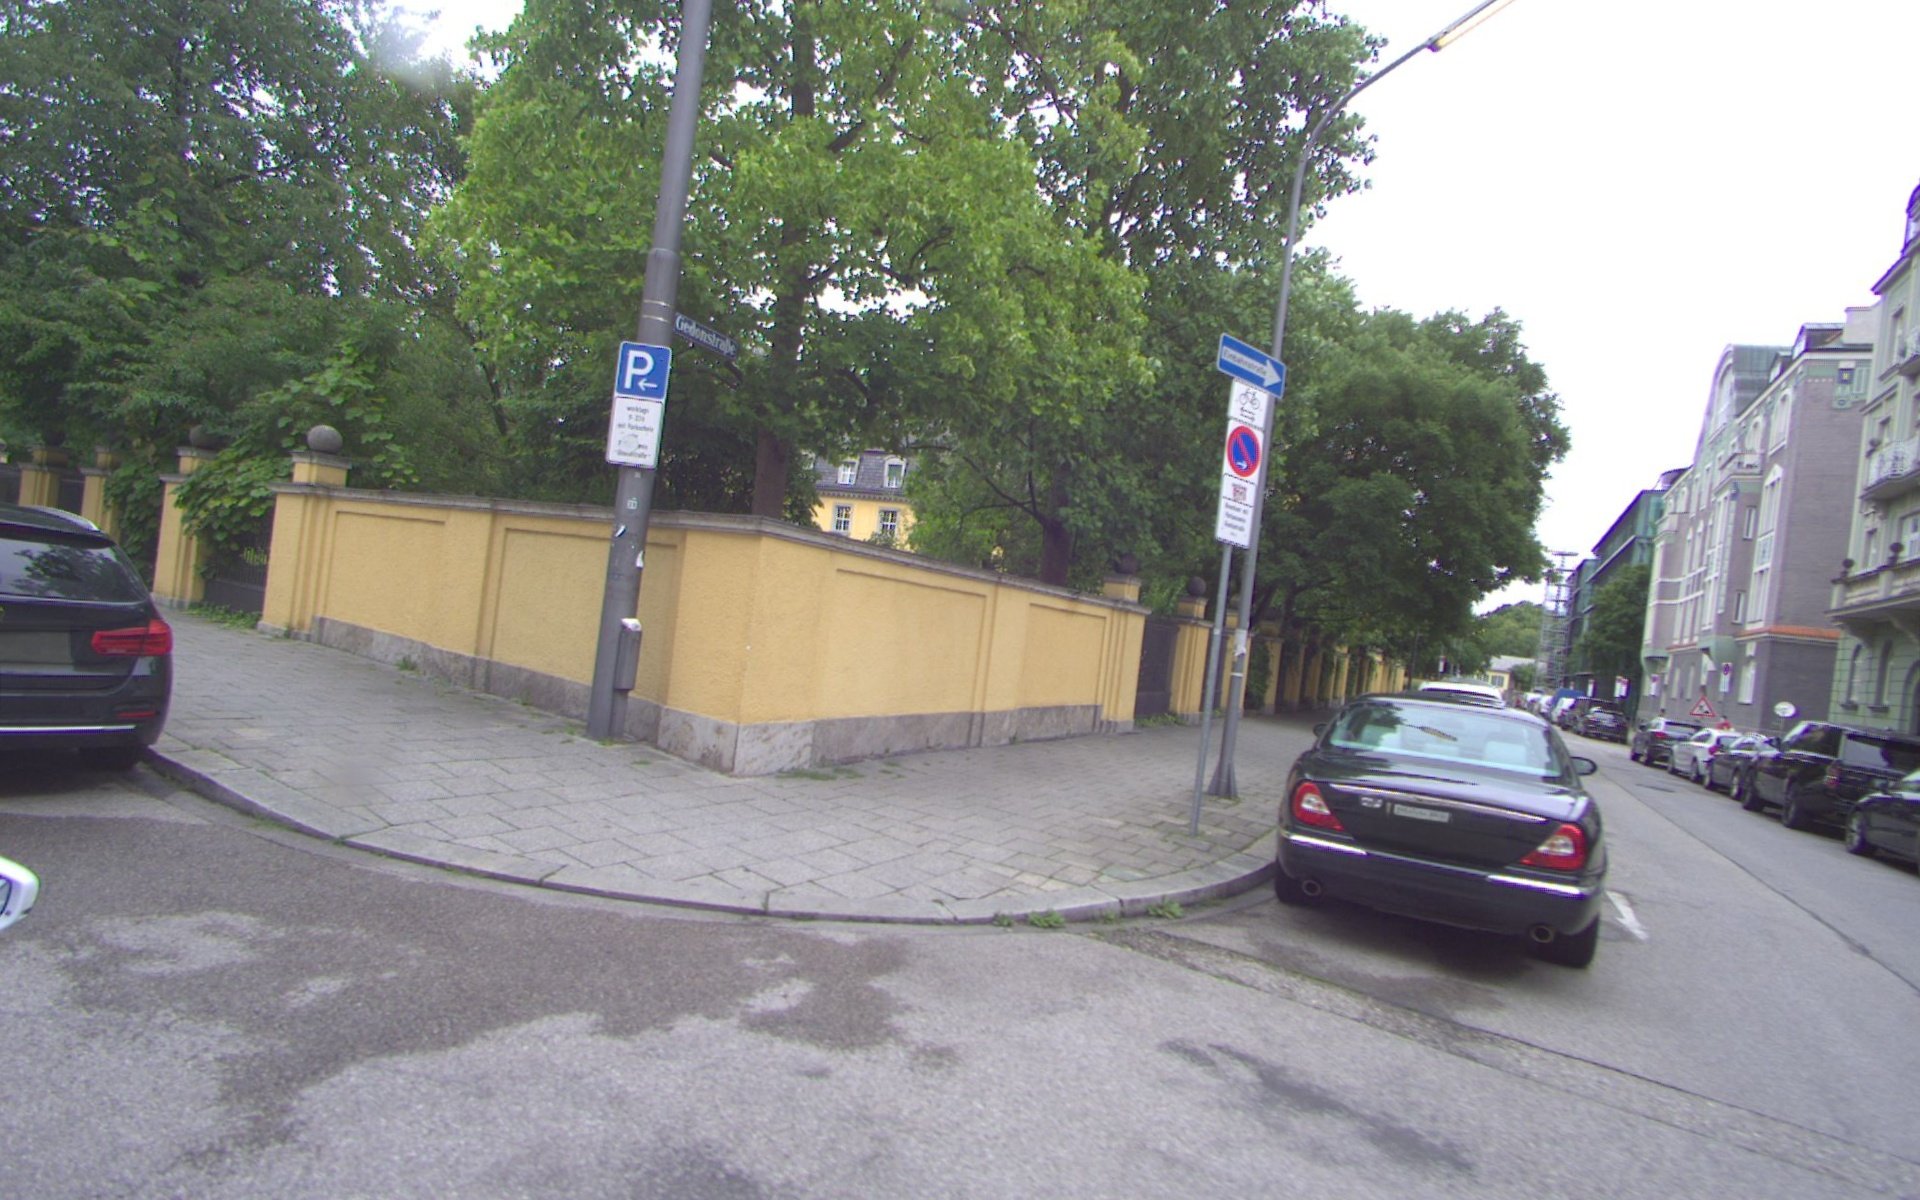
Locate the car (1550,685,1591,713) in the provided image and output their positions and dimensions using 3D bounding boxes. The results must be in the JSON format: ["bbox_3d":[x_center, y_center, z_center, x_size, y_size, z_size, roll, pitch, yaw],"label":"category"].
[{"bbox_3d":[43.123,6.952,71.174,1.965,1.640,4.604,6,-1,27],"label":"car"}]

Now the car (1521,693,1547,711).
[{"bbox_3d":[61.427,10.898,107.683,1.965,1.640,4.604,6,-1,27],"label":"car"}]

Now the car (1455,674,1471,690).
[{"bbox_3d":[69.753,11.363,139.489,1.878,1.891,4.604,6,-1,27],"label":"car"}]

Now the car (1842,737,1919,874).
[{"bbox_3d":[12.731,2.690,12.308,1.930,1.459,4.106,9,1,30],"label":"car"}]

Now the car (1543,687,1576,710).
[{"bbox_3d":[51.792,8.504,86.935,1.965,1.640,4.604,6,-1,27],"label":"car"}]

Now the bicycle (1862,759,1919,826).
[{"bbox_3d":[22.278,4.432,22.585,2.466,1.282,2.470,4,-3,30],"label":"bicycle"}]

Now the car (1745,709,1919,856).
[{"bbox_3d":[14.638,2.905,16.508,1.930,1.775,4.244,9,1,30],"label":"car"}]

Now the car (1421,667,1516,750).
[{"bbox_3d":[13.763,2.874,27.290,1.976,1.799,4.380,6,-1,27],"label":"car"}]

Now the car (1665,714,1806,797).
[{"bbox_3d":[19.726,3.900,25.792,1.929,1.423,4.246,9,1,27],"label":"car"}]

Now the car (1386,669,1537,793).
[{"bbox_3d":[8.881,2.197,17.796,1.965,1.640,4.604,6,-1,28],"label":"car"}]

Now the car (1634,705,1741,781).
[{"bbox_3d":[21.772,4.210,30.283,1.930,1.670,4.244,9,1,30],"label":"car"}]

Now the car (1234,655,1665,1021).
[{"bbox_3d":[3.486,1.319,7.327,1.832,1.500,4.925,6,-1,27],"label":"car"}]

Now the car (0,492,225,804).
[{"bbox_3d":[-6.179,0.032,5.788,4.276,1.429,1.840,6,-2,36],"label":"car"}]

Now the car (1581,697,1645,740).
[{"bbox_3d":[31.625,5.702,48.869,1.965,1.640,4.604,6,-1,27],"label":"car"}]

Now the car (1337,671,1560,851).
[{"bbox_3d":[6.042,1.769,12.141,1.890,1.500,4.601,6,-1,31],"label":"car"}]

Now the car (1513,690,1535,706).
[{"bbox_3d":[69.933,12.099,124.709,1.965,1.640,4.604,7,-1,27],"label":"car"}]

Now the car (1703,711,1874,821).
[{"bbox_3d":[17.676,3.447,21.703,1.930,1.670,4.244,9,1,30],"label":"car"}]
